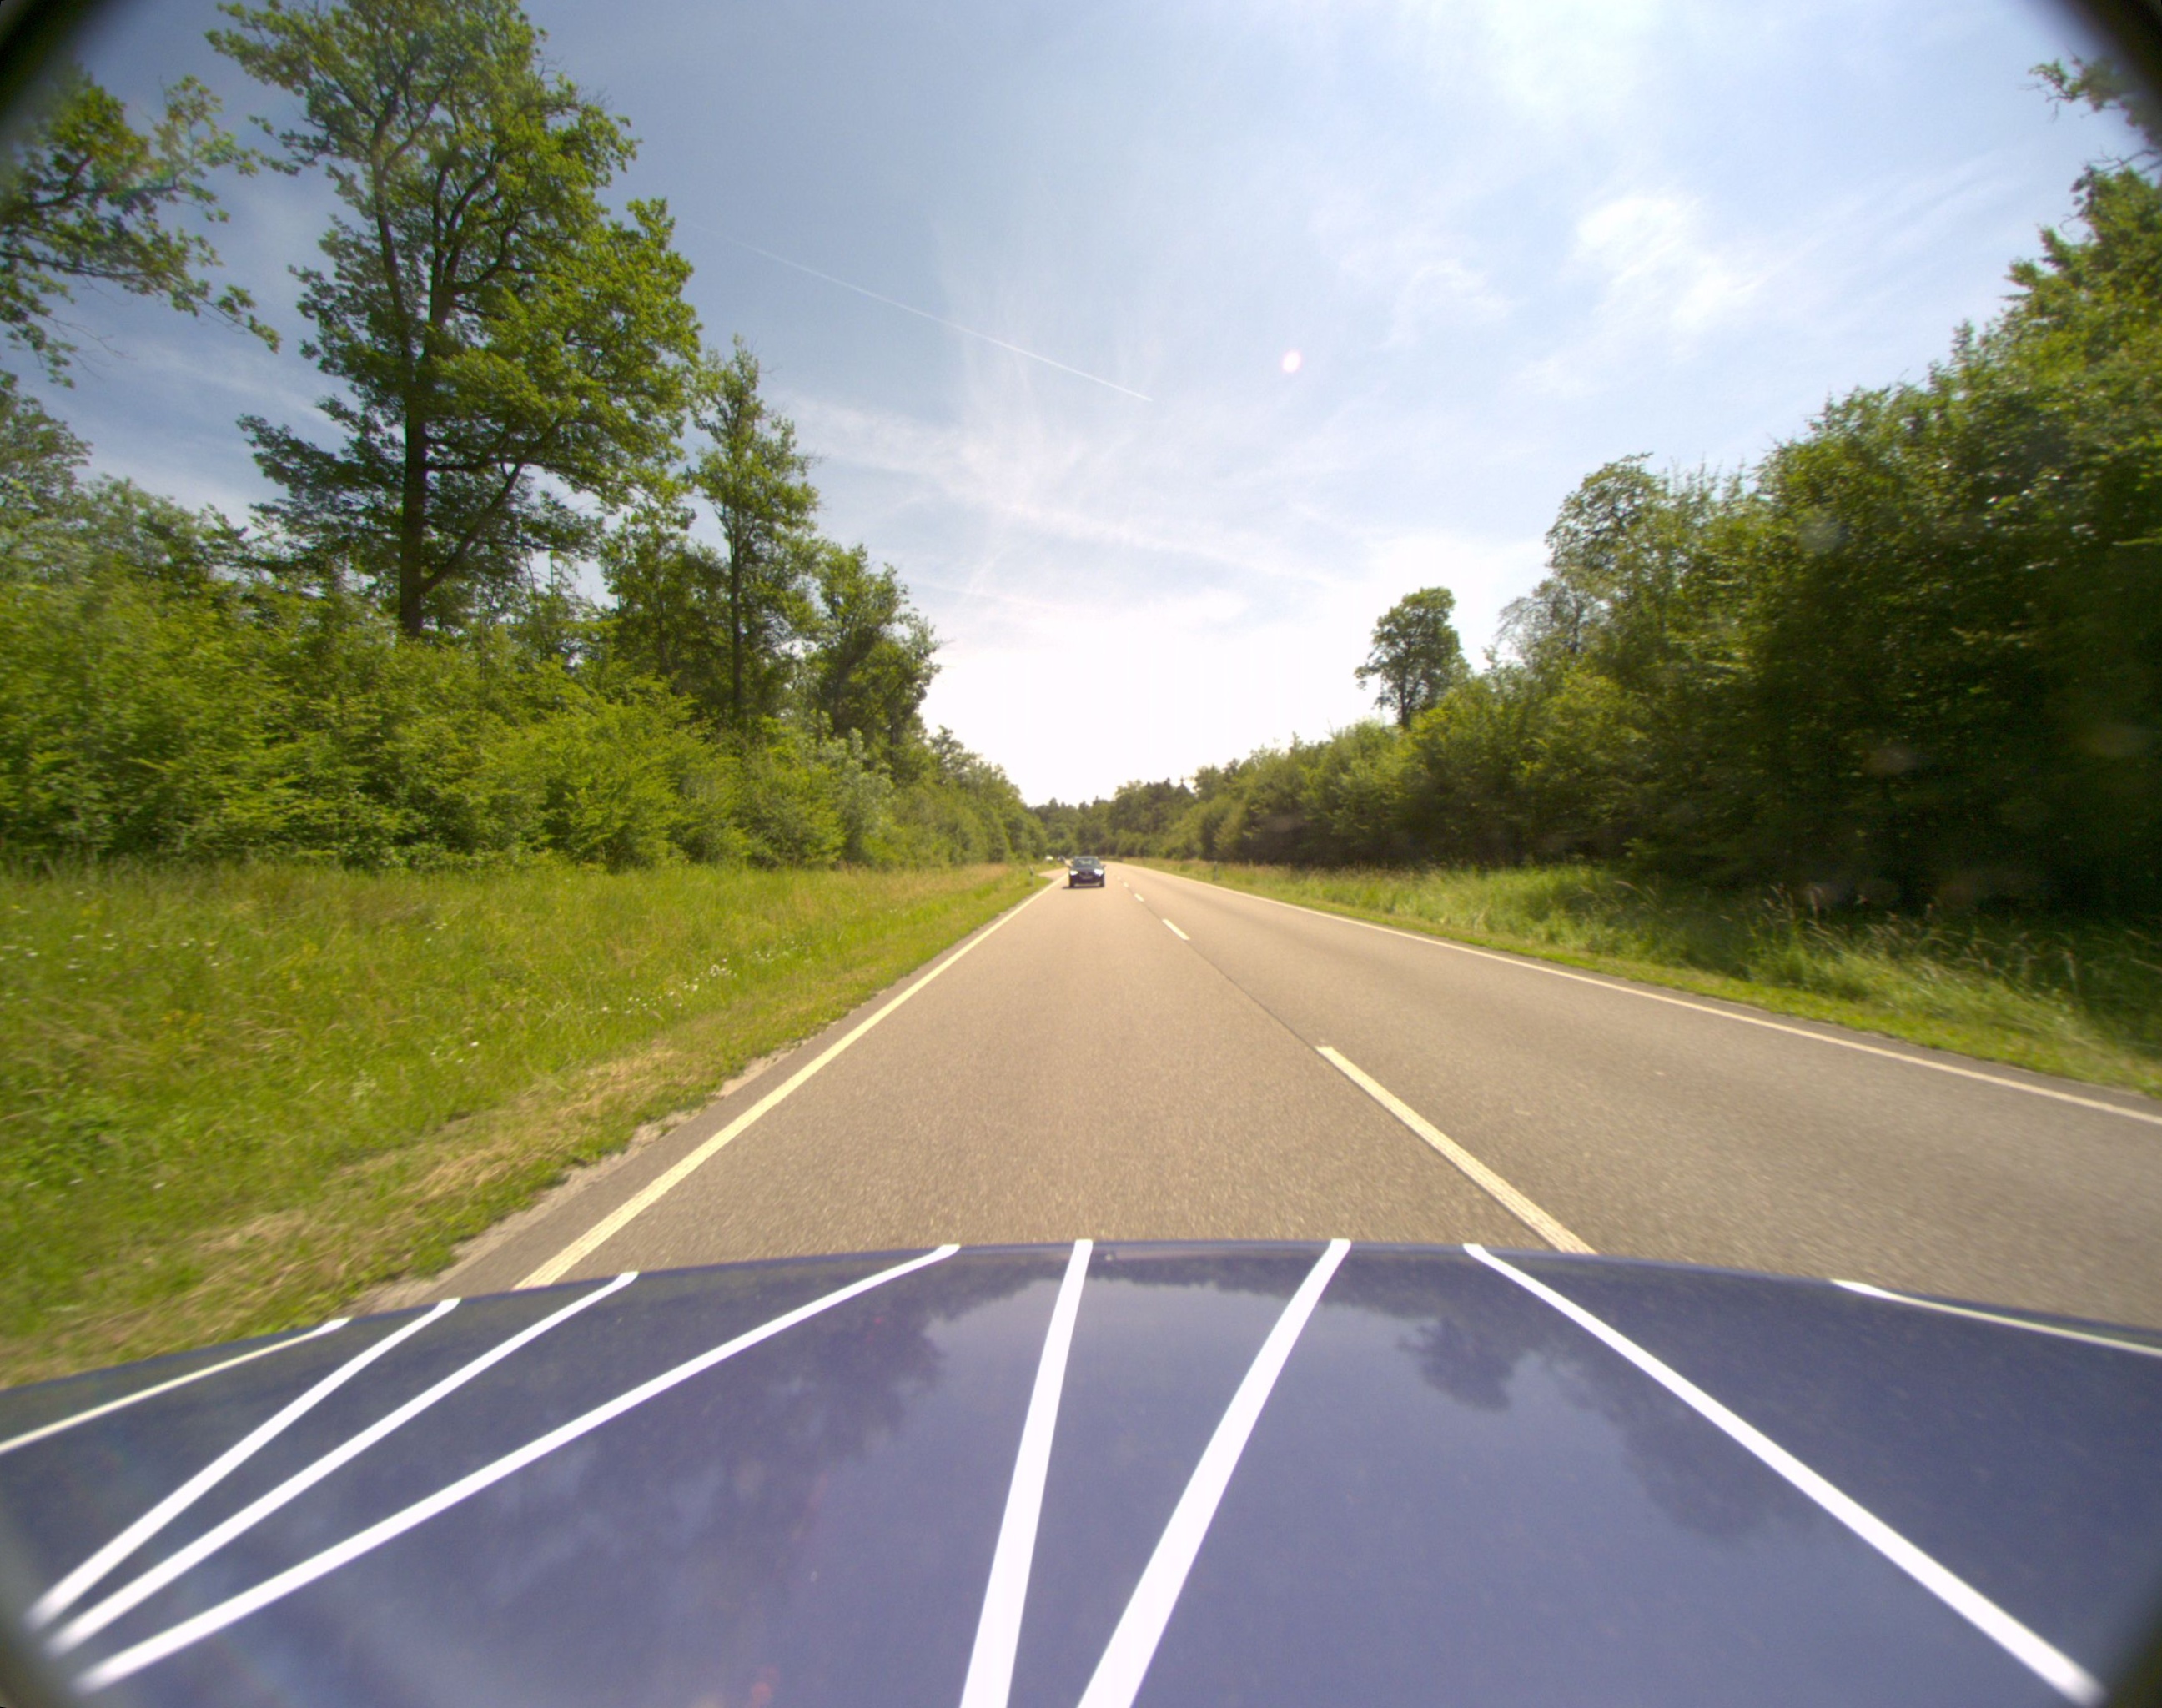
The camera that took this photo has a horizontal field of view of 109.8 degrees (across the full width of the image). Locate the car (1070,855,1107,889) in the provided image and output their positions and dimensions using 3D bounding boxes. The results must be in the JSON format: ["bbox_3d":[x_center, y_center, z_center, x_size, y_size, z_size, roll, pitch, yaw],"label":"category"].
[{"bbox_3d":[0.369,0.854,38.268,1.713,1.516,4.242,-2,0,1],"label":"car"}]
